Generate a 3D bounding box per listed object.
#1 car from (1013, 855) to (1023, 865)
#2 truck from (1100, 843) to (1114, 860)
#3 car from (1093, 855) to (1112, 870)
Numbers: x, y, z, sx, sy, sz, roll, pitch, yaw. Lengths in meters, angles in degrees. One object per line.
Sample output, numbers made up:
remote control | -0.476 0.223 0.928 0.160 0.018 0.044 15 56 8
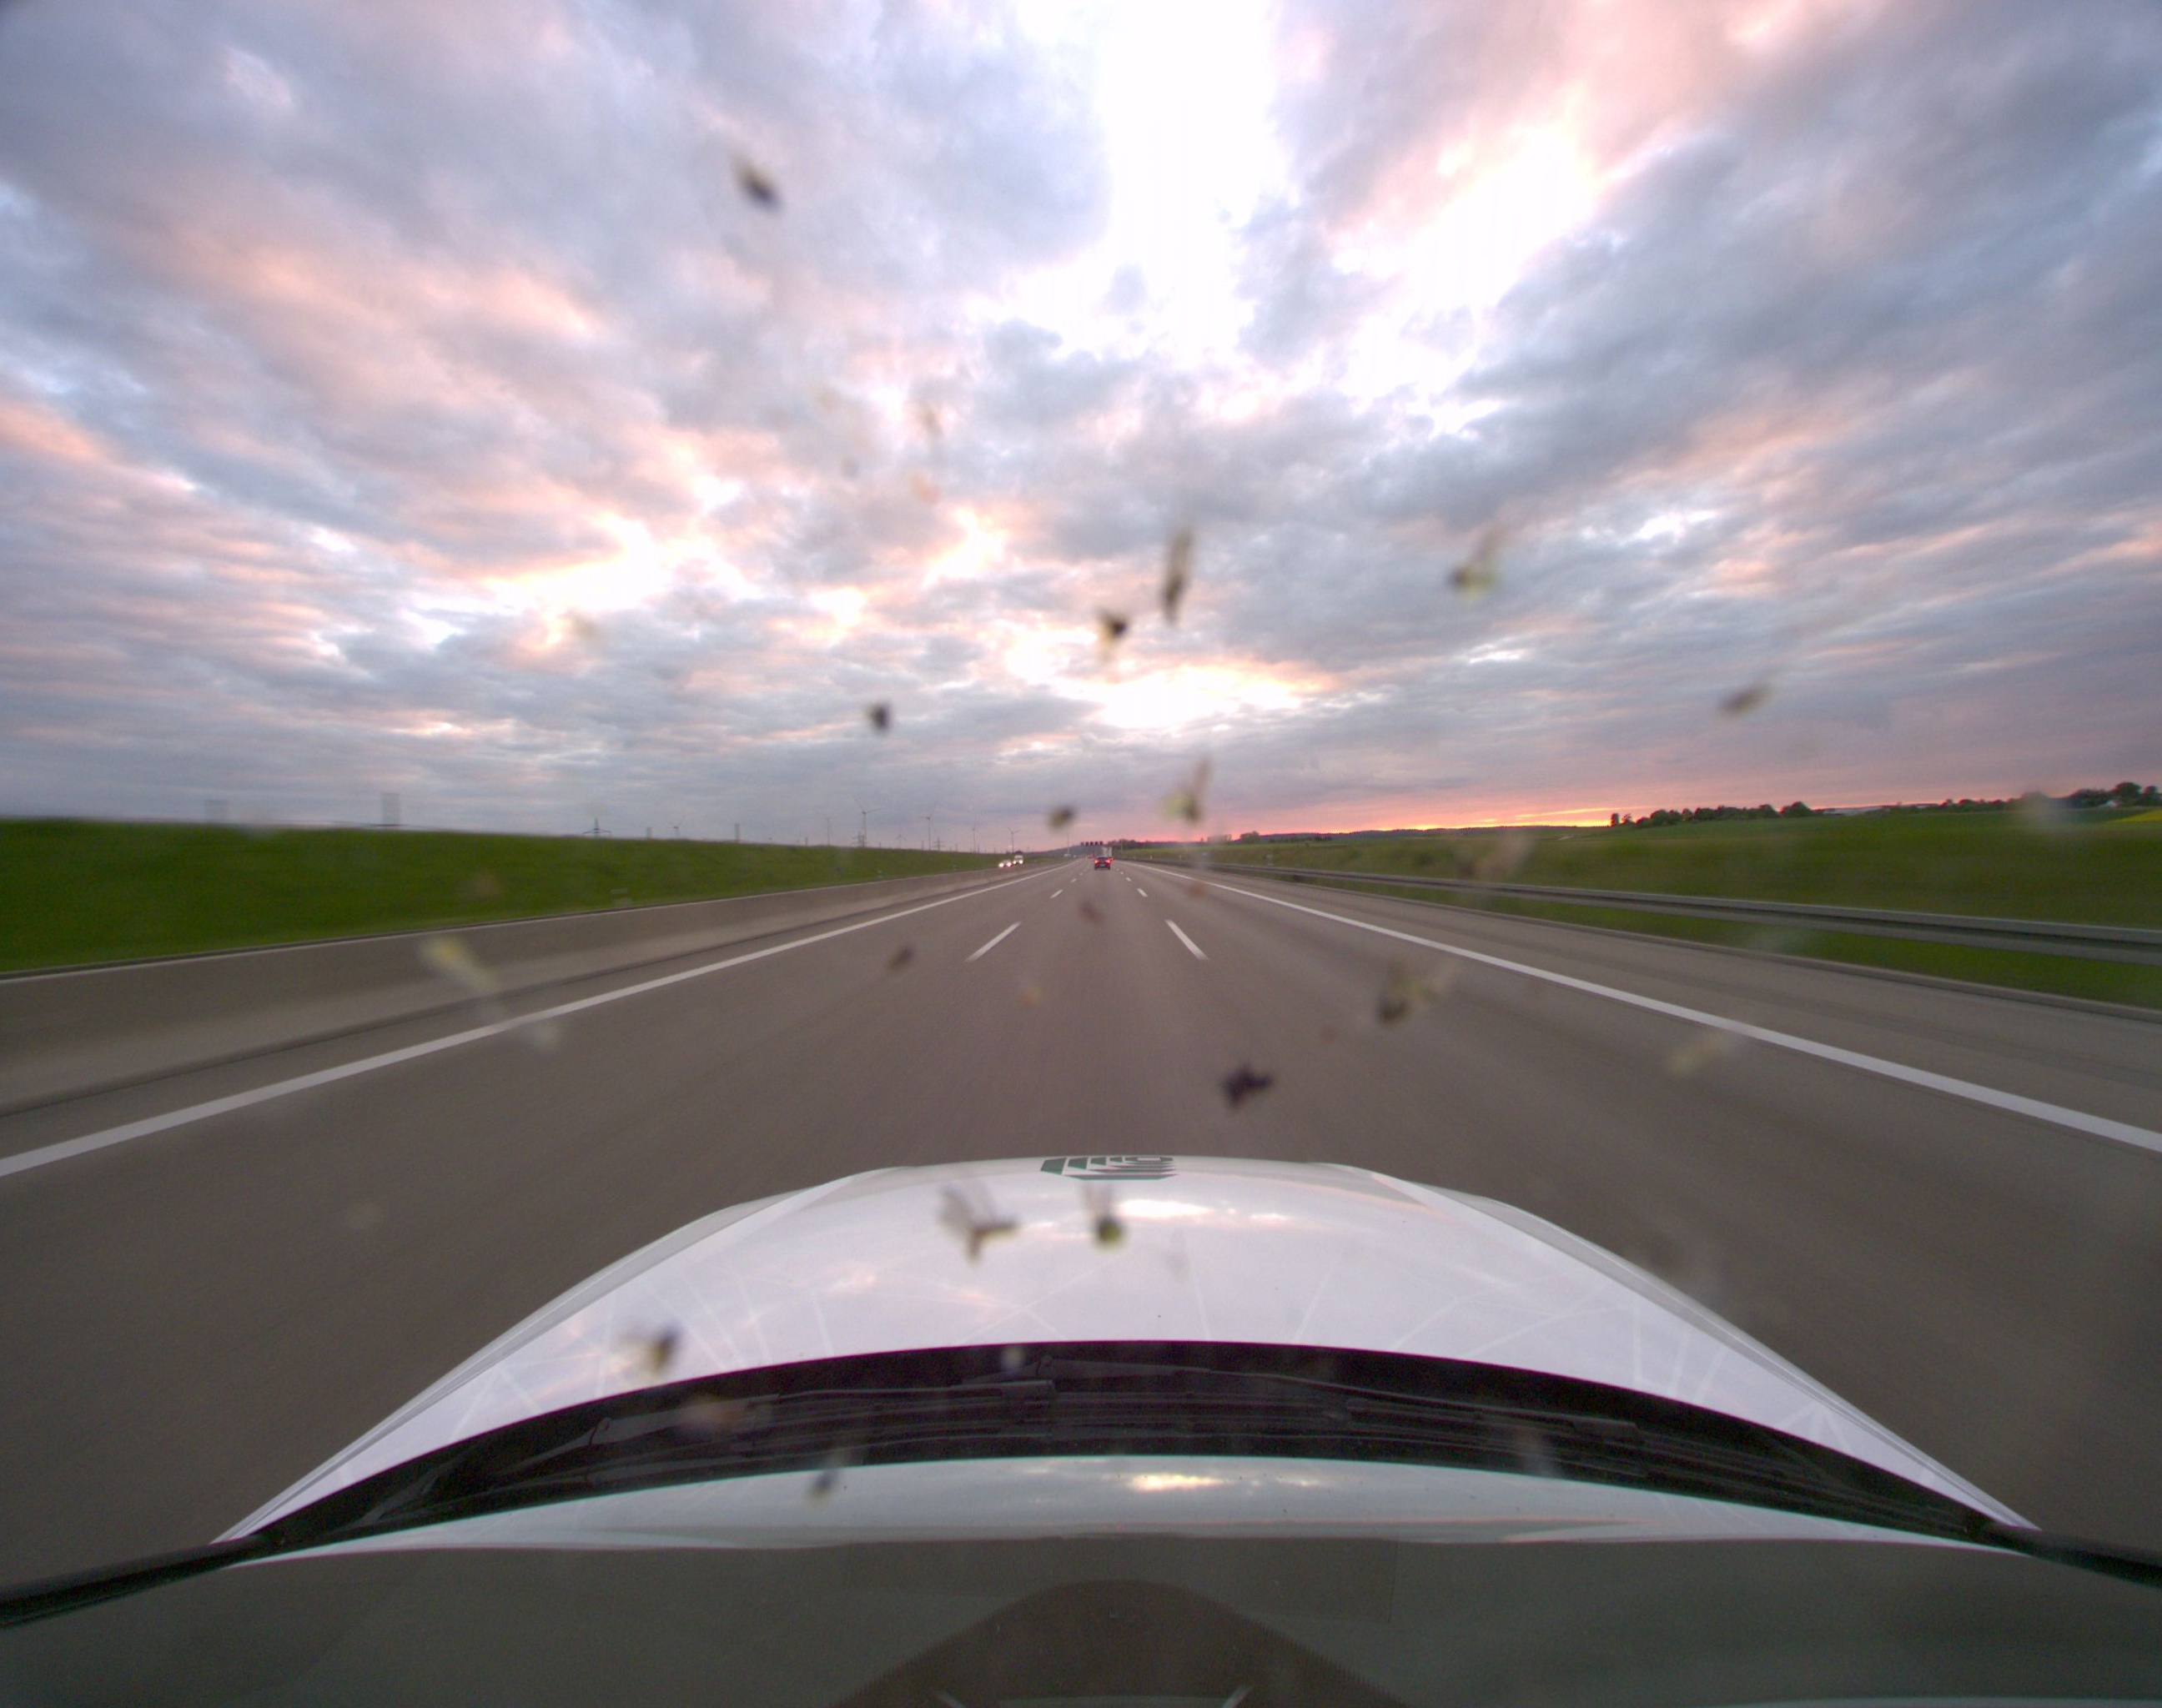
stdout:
car | -16.113 1.575 208.406 1.987 2.546 7.378 -3 0 1
truck | 7.390 -0.646 234.472 3.663 4.564 10.981 -3 0 1
car | 2.379 0.935 89.119 1.979 1.429 4.003 -3 0 3
